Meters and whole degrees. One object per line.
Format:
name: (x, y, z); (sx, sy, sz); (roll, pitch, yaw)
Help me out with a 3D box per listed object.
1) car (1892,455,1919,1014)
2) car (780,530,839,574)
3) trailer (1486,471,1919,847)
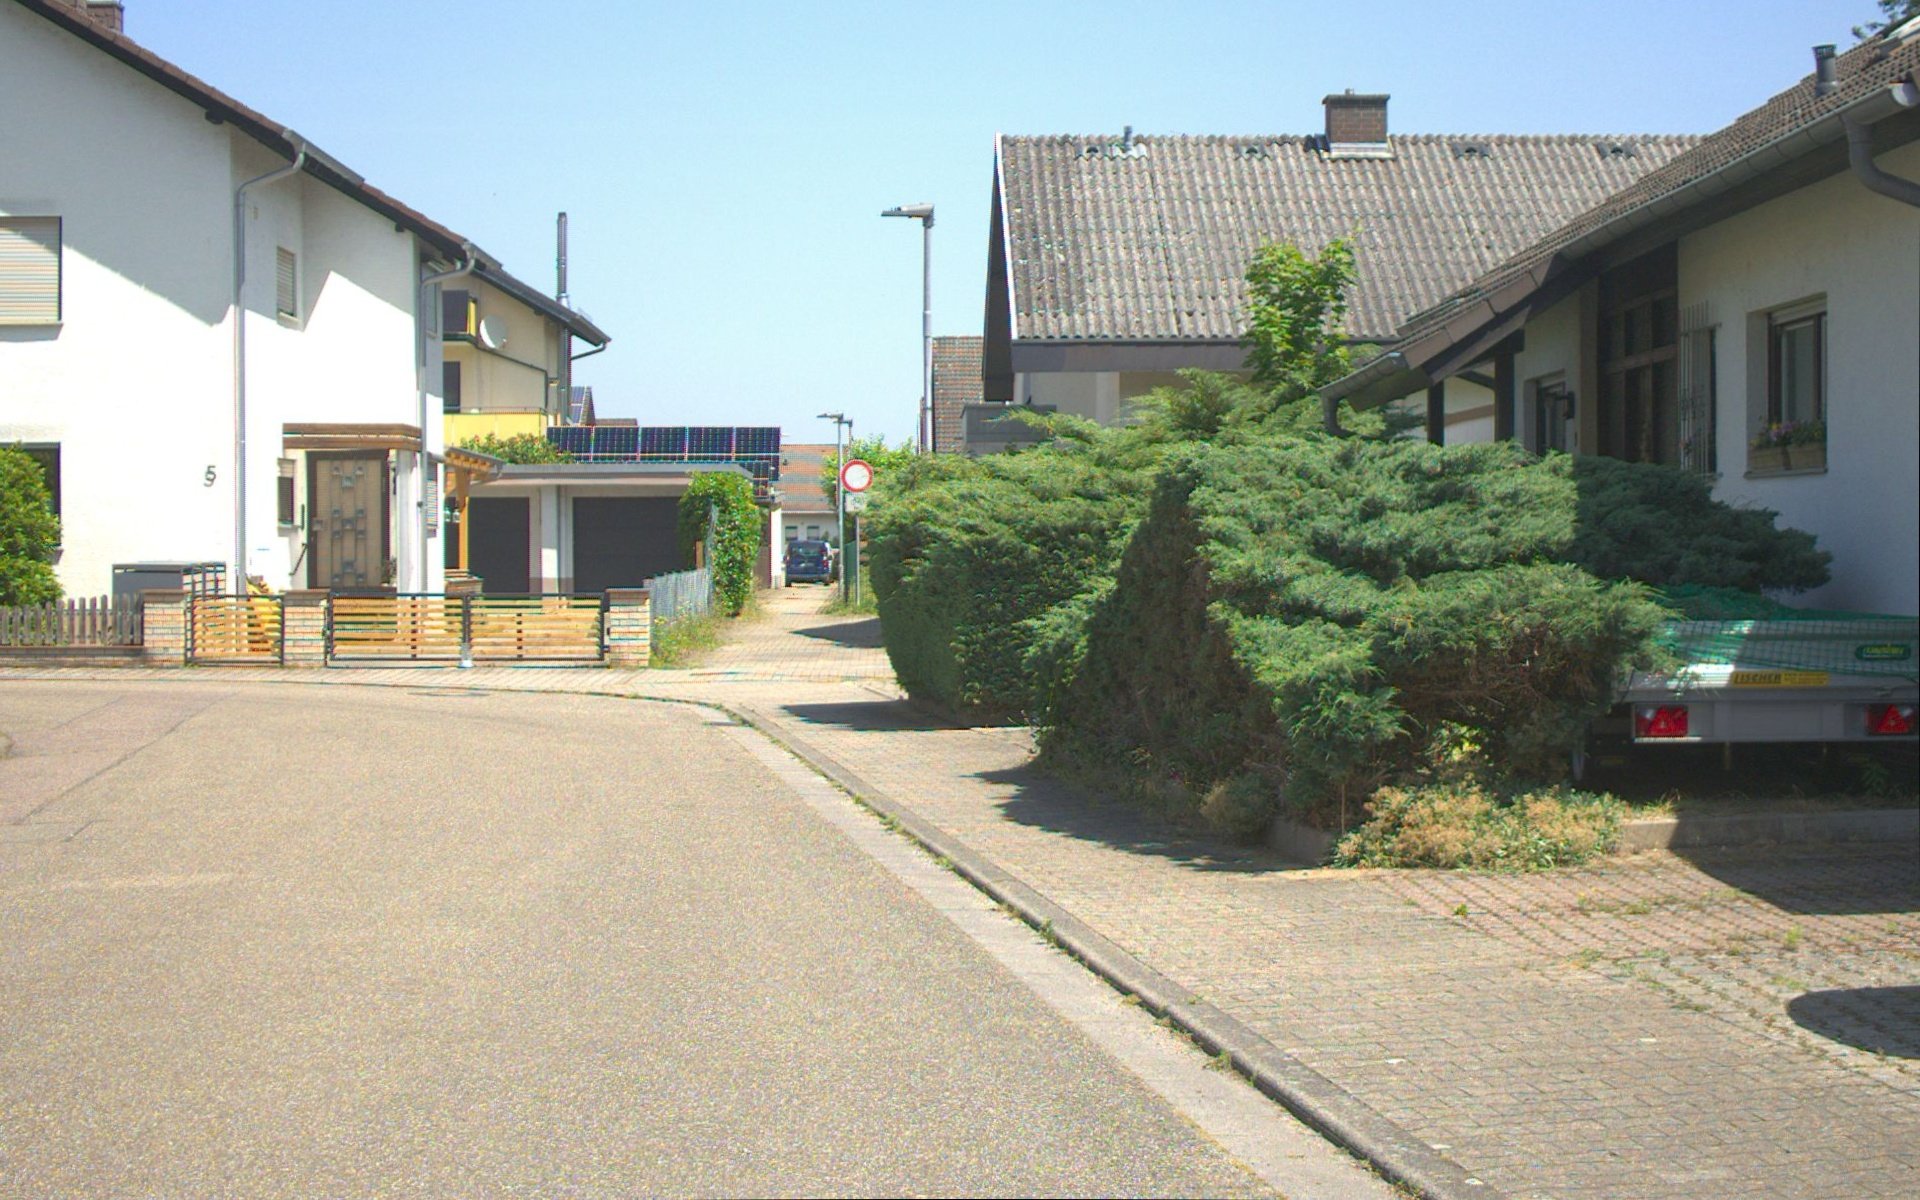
car: (5.188, 0.360, 9.698); (4.627, 1.696, 1.709); (-2, 1, 2)
car: (-5.896, -1.889, 135.214); (2.193, 1.695, 3.807); (0, 1, -1)
trailer: (3.725, 0.219, 17.272); (1.587, 1.666, 3.297); (-2, 2, -1)
